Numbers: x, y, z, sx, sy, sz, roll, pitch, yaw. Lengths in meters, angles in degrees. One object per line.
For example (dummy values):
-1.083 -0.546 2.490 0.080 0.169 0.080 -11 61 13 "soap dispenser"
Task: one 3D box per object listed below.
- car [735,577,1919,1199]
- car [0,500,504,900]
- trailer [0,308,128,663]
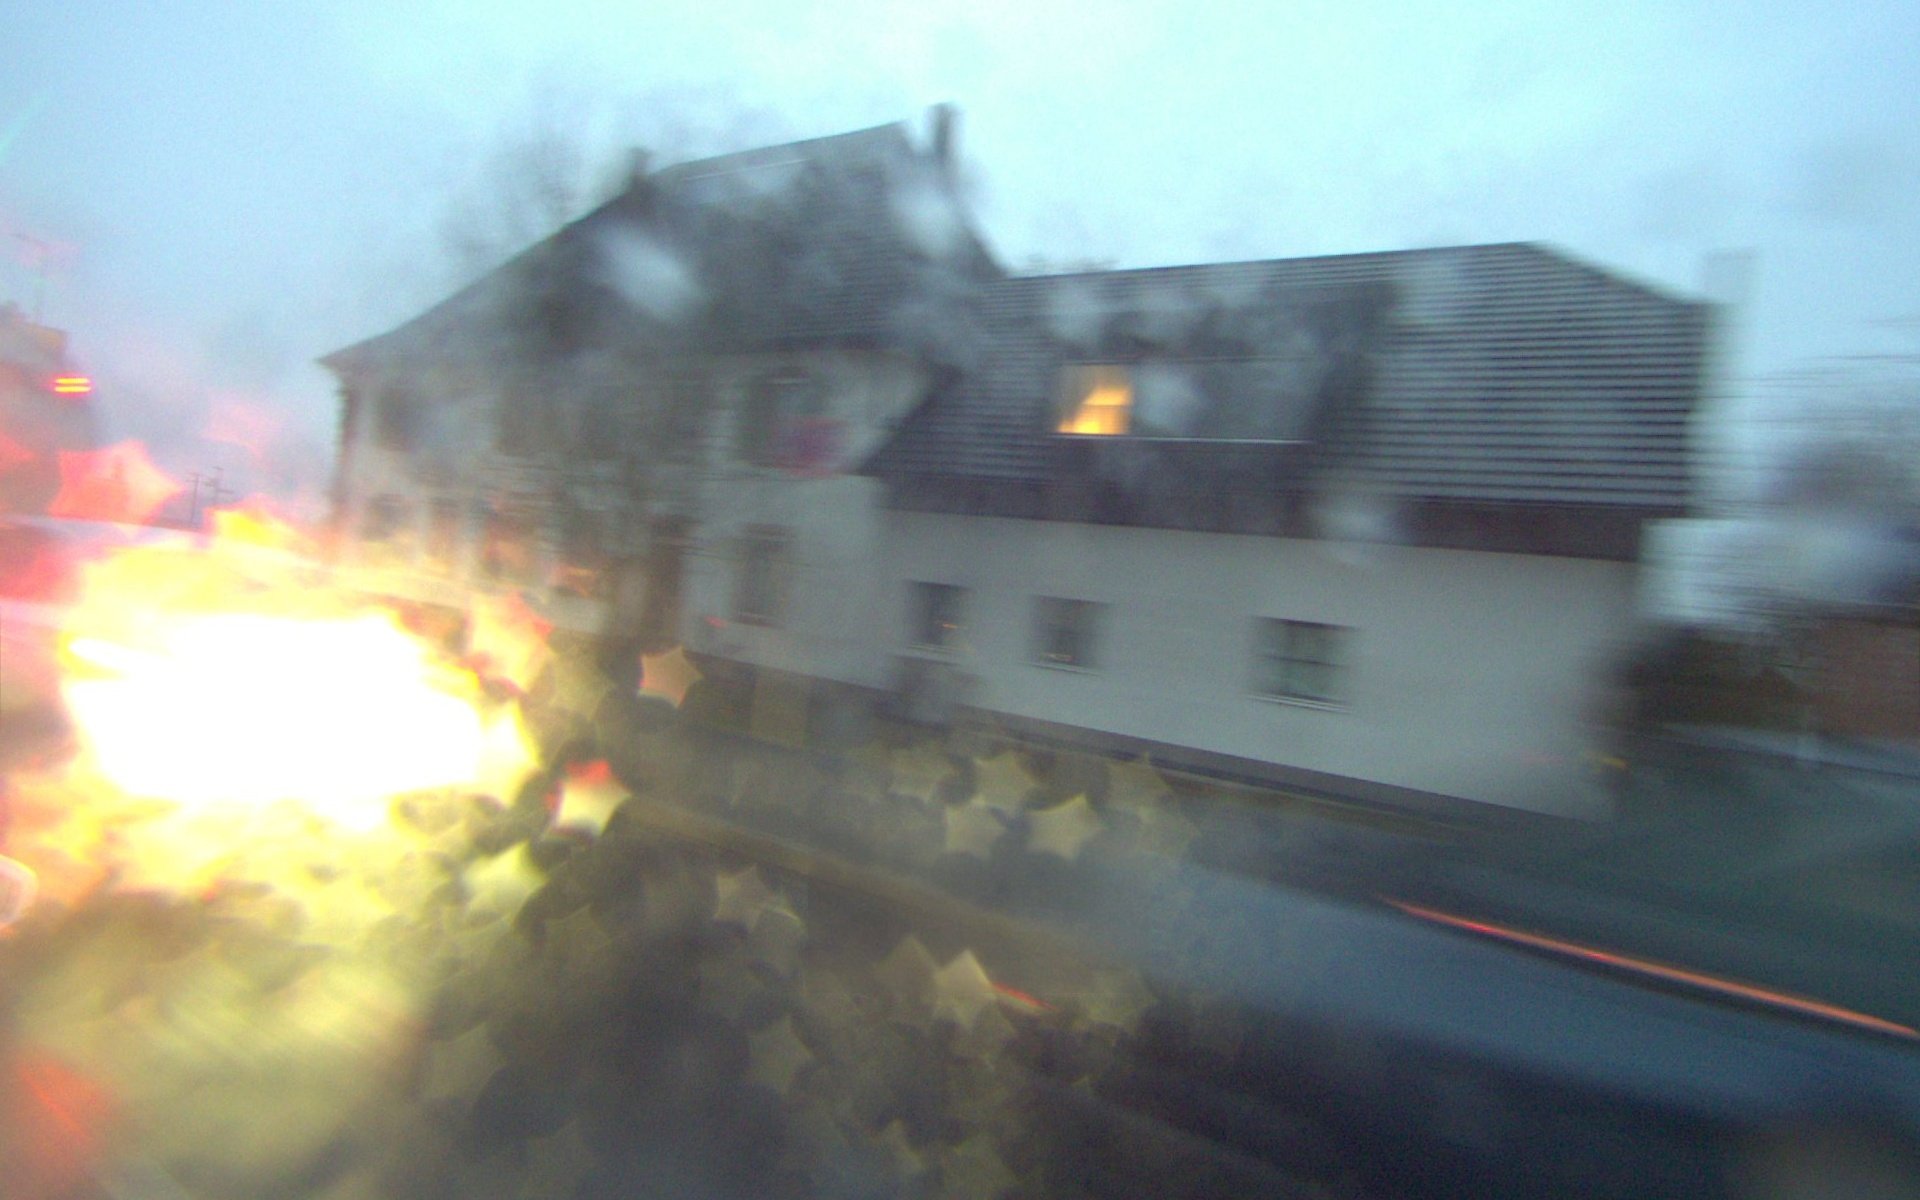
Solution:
1.883 1.047 2.083 4.429 1.586 1.840 7 -2 32 "car"
-4.697 0.274 5.618 4.309 1.455 1.666 7 -2 32 "car"
-13.786 -1.638 11.924 10.688 3.279 2.492 7 -1 32 "trailer"
